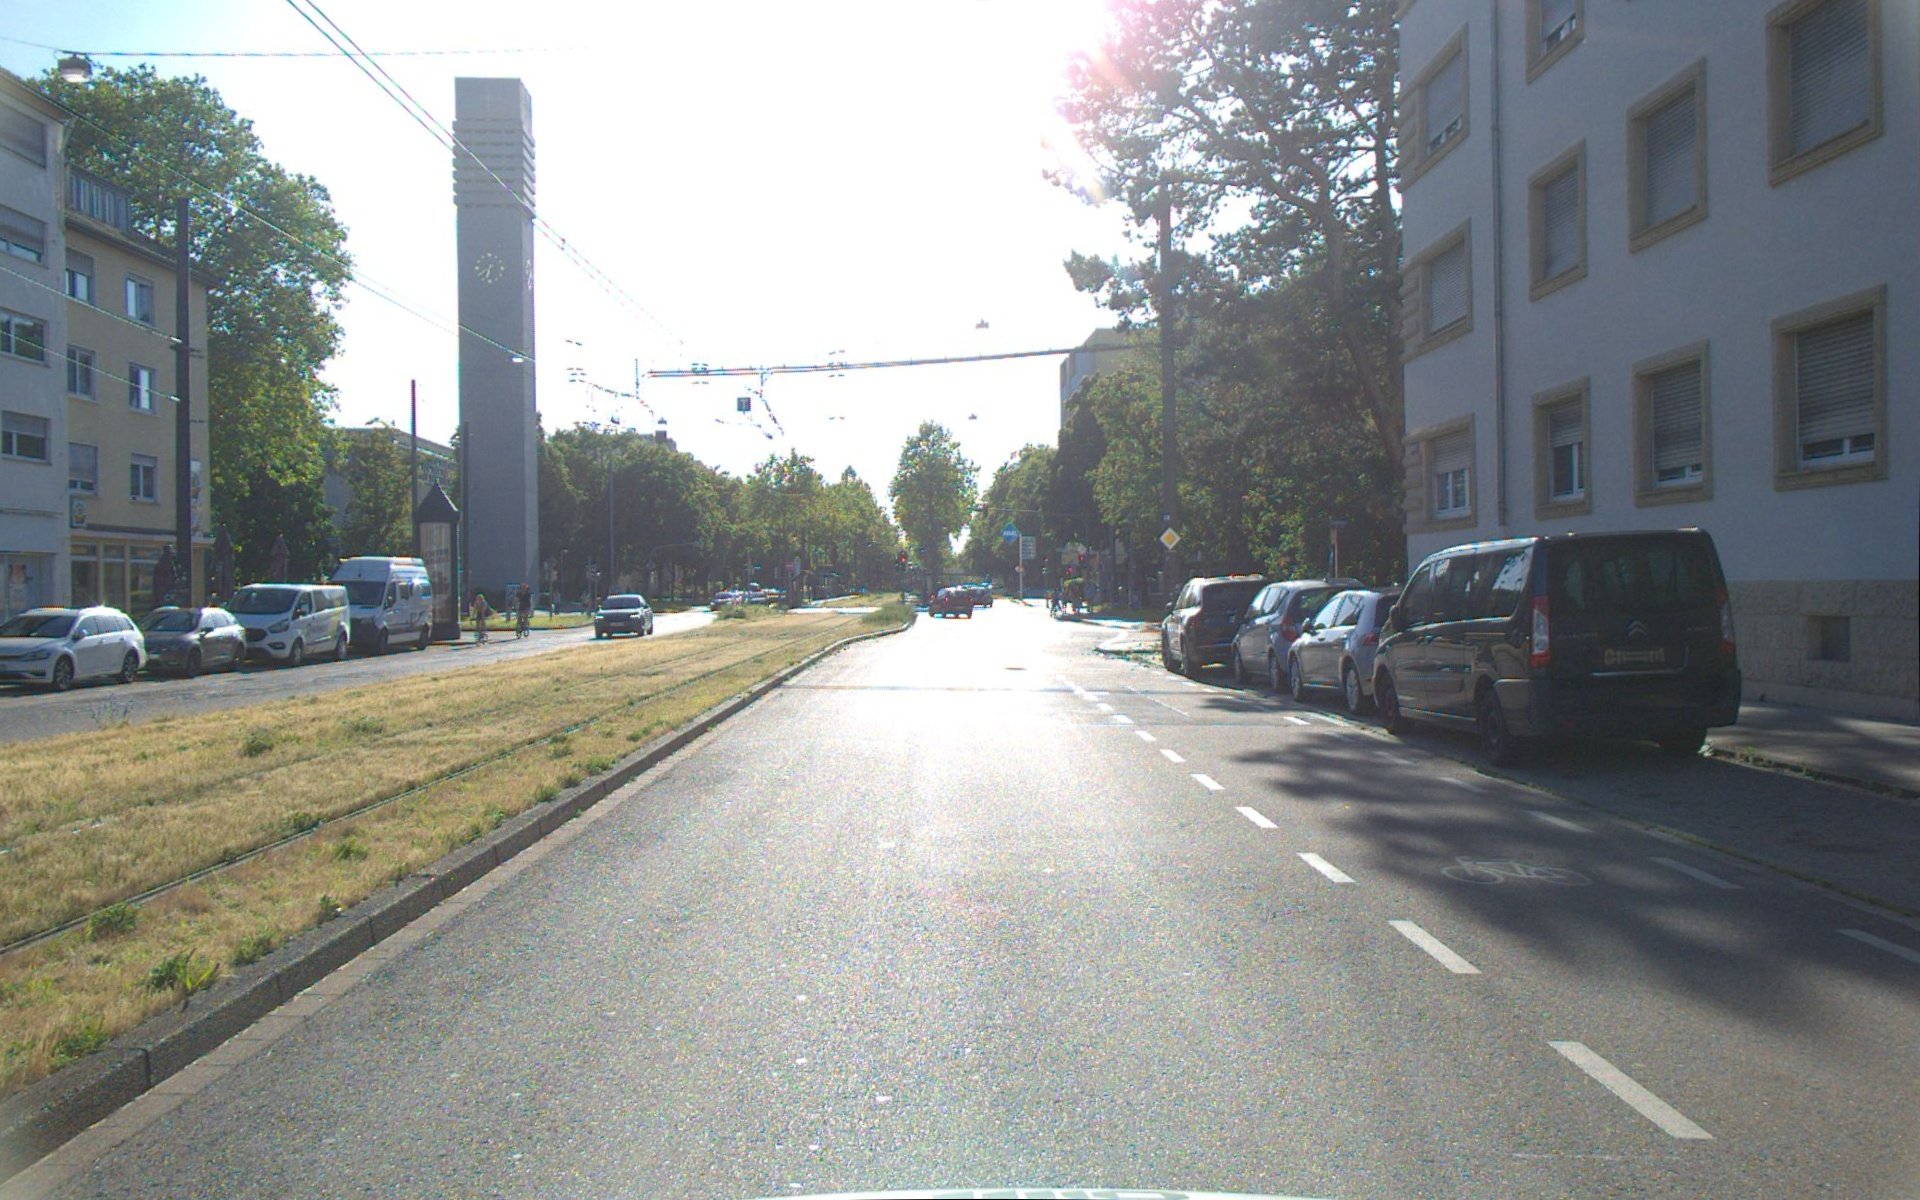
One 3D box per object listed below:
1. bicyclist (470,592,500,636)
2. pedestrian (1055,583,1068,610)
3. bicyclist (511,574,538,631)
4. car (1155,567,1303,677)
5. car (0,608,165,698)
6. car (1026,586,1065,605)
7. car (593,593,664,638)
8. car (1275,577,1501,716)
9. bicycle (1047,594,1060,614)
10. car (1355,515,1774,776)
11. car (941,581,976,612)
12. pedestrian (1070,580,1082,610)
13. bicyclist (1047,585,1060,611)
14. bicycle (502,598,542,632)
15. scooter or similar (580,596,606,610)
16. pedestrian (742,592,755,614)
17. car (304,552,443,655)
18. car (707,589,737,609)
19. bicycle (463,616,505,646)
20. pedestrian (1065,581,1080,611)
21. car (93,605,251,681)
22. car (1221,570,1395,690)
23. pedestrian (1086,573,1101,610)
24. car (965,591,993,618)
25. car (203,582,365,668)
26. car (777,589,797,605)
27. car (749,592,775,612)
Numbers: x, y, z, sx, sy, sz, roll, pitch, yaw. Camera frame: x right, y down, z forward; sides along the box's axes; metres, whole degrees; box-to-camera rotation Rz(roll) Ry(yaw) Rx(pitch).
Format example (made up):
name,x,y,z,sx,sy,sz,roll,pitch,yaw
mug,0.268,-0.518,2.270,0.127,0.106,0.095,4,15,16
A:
name,x,y,z,sx,sy,sz,roll,pitch,yaw
bicyclist,-15.527,0.455,54.059,0.757,1.408,0.648,-1,0,-1
pedestrian,5.850,-0.203,95.406,0.633,1.549,0.496,2,0,11
bicyclist,-15.950,0.098,60.629,0.757,2.049,0.648,2,0,-1
car,4.861,0.353,30.582,1.841,1.746,4.934,-4,0,0
car,-17.330,0.963,31.942,1.854,1.517,4.701,1,1,-3
car,9.127,-0.495,177.054,3.902,1.892,2.013,2,0,10
car,-11.869,0.535,59.425,1.660,1.473,4.217,-2,1,0
car,5.250,0.516,20.827,1.480,1.504,4.235,-2,0,-3
bicycle,4.971,0.206,87.899,0.634,0.989,1.804,2,0,2
car,5.407,0.340,15.664,1.874,1.932,5.134,-4,0,-1
car,-0.089,-0.193,86.624,1.660,1.534,3.697,1,1,-3
pedestrian,6.029,-0.252,85.892,0.518,1.555,0.628,-2,0,5
bicyclist,4.969,-0.095,87.837,0.624,1.346,0.803,2,0,1
bicycle,-16.023,0.540,60.553,0.753,1.166,2.474,-3,0,-1
scooter or similar,-26.105,0.213,117.635,1.706,0.915,0.561,-1,0,-17
pedestrian,-16.304,0.246,127.357,0.873,1.634,0.613,2,0,-1
car,-17.687,0.062,50.267,1.990,2.919,6.228,0,0,0
car,-19.331,-0.101,134.534,1.770,1.560,4.360,-1,0,-1
bicycle,-15.527,1.008,54.016,0.753,0.895,2.068,-3,1,-1
pedestrian,6.486,-0.233,95.366,0.714,1.711,0.533,2,0,11
car,-17.458,0.898,36.852,1.661,1.541,4.323,0,0,-4
car,5.212,0.413,25.236,1.562,1.606,3.893,-3,0,-4
pedestrian,6.913,-0.442,85.781,0.688,1.820,0.694,-3,1,5
car,1.446,0.329,126.140,1.929,1.892,3.998,2,0,-2
car,-17.582,0.593,43.347,1.990,2.056,5.370,2,0,0
car,-16.536,-0.309,158.247,1.534,1.426,3.914,2,0,-1
car,-16.241,0.123,135.707,1.653,1.560,4.360,-1,0,-1
